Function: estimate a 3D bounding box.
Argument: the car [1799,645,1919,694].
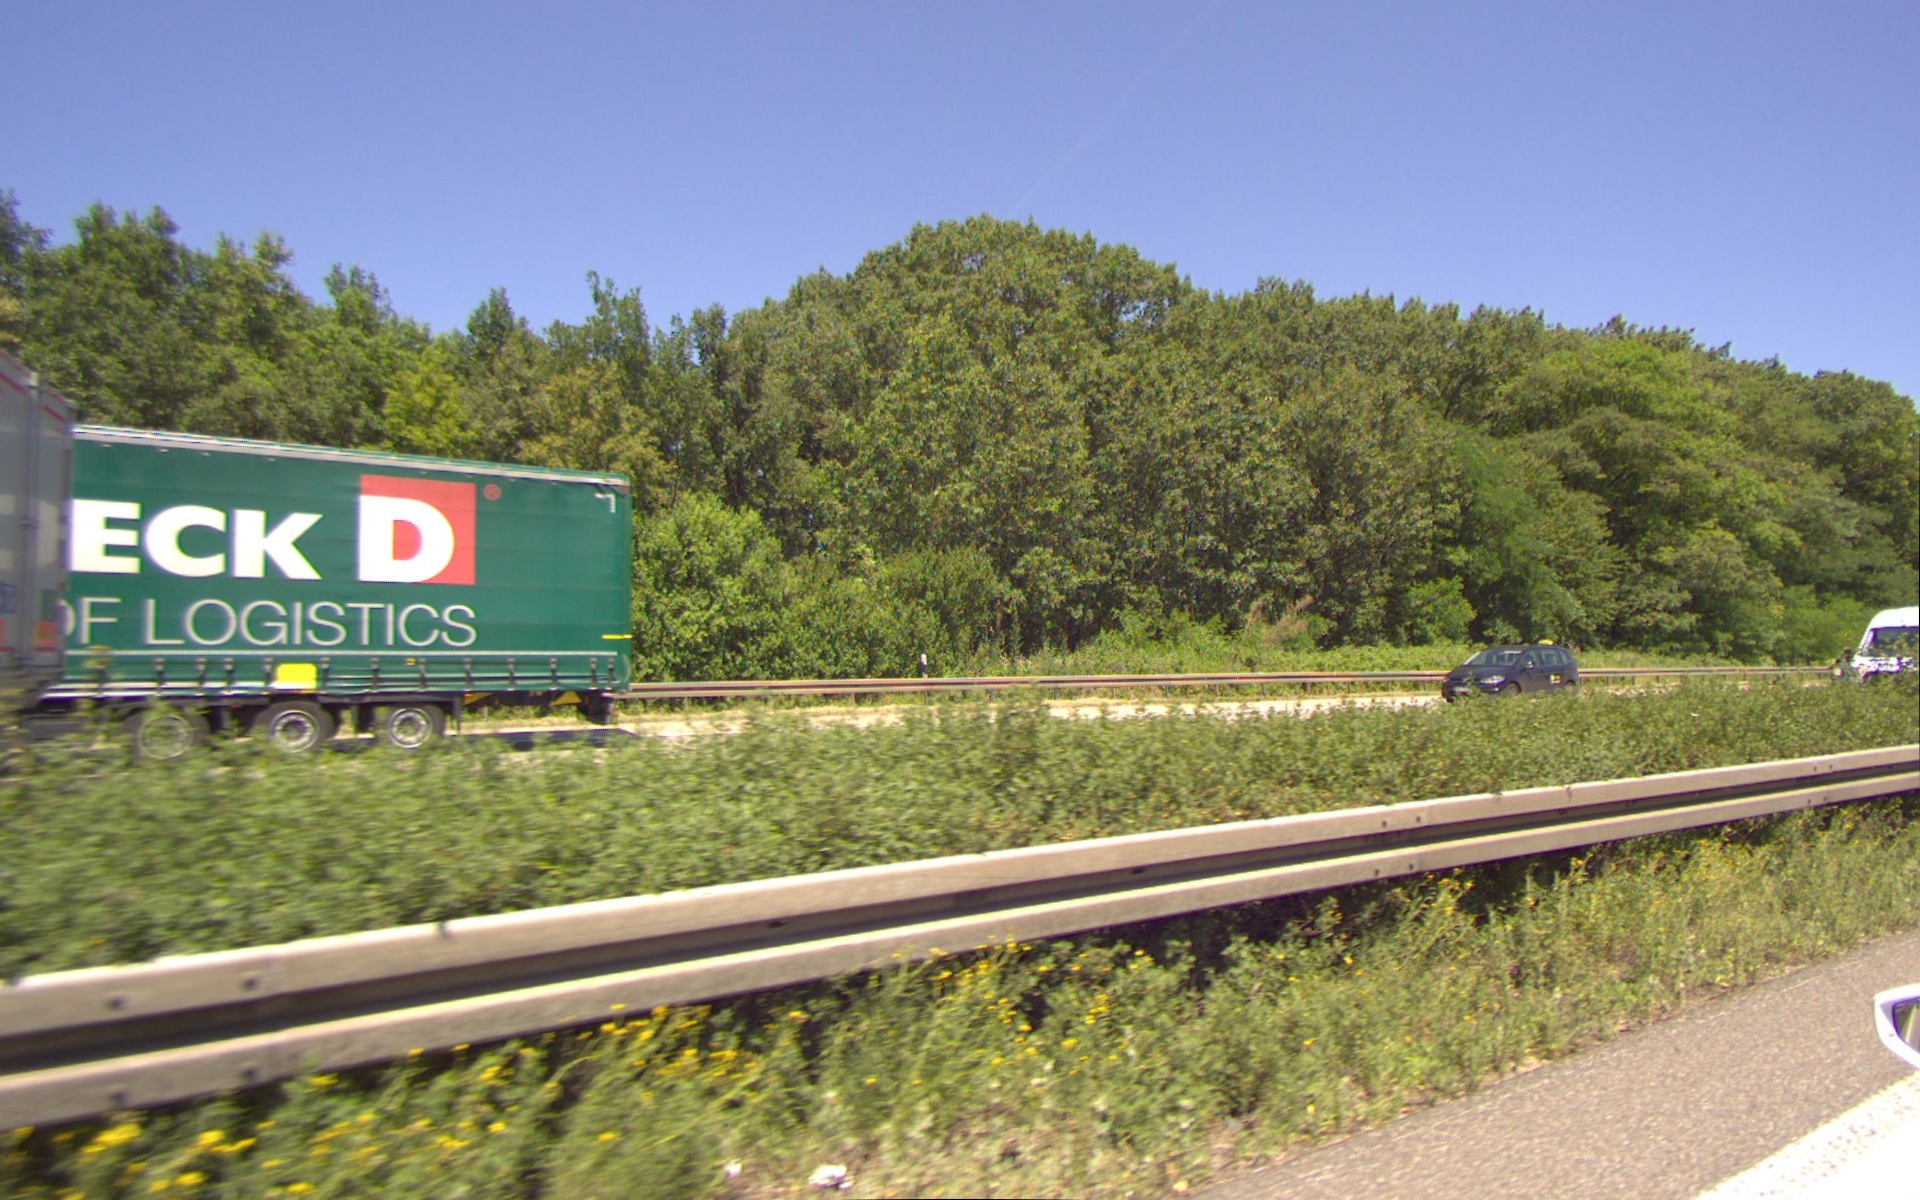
[{"bbox_3d":[27.596,2.088,30.697,3.954,1.356,1.785,2,-1,-31],"label":"car"}]

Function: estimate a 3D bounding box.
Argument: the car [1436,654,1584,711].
[{"bbox_3d":[14.973,2.197,27.298,3.954,1.356,1.785,2,-1,-31],"label":"car"}]

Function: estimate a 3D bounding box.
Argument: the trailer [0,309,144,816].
[{"bbox_3d":[-13.817,-0.434,6.087,13.360,4.062,2.856,2,-1,-31],"label":"trailer"}]

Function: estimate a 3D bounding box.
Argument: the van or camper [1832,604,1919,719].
[{"bbox_3d":[22.825,1.382,23.217,6.919,2.402,1.984,2,-1,-31],"label":"van or camper"}]

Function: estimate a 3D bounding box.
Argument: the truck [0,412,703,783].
[{"bbox_3d":[-8.937,0.060,14.098,9.883,4.168,2.999,2,-1,-31],"label":"truck"}]
